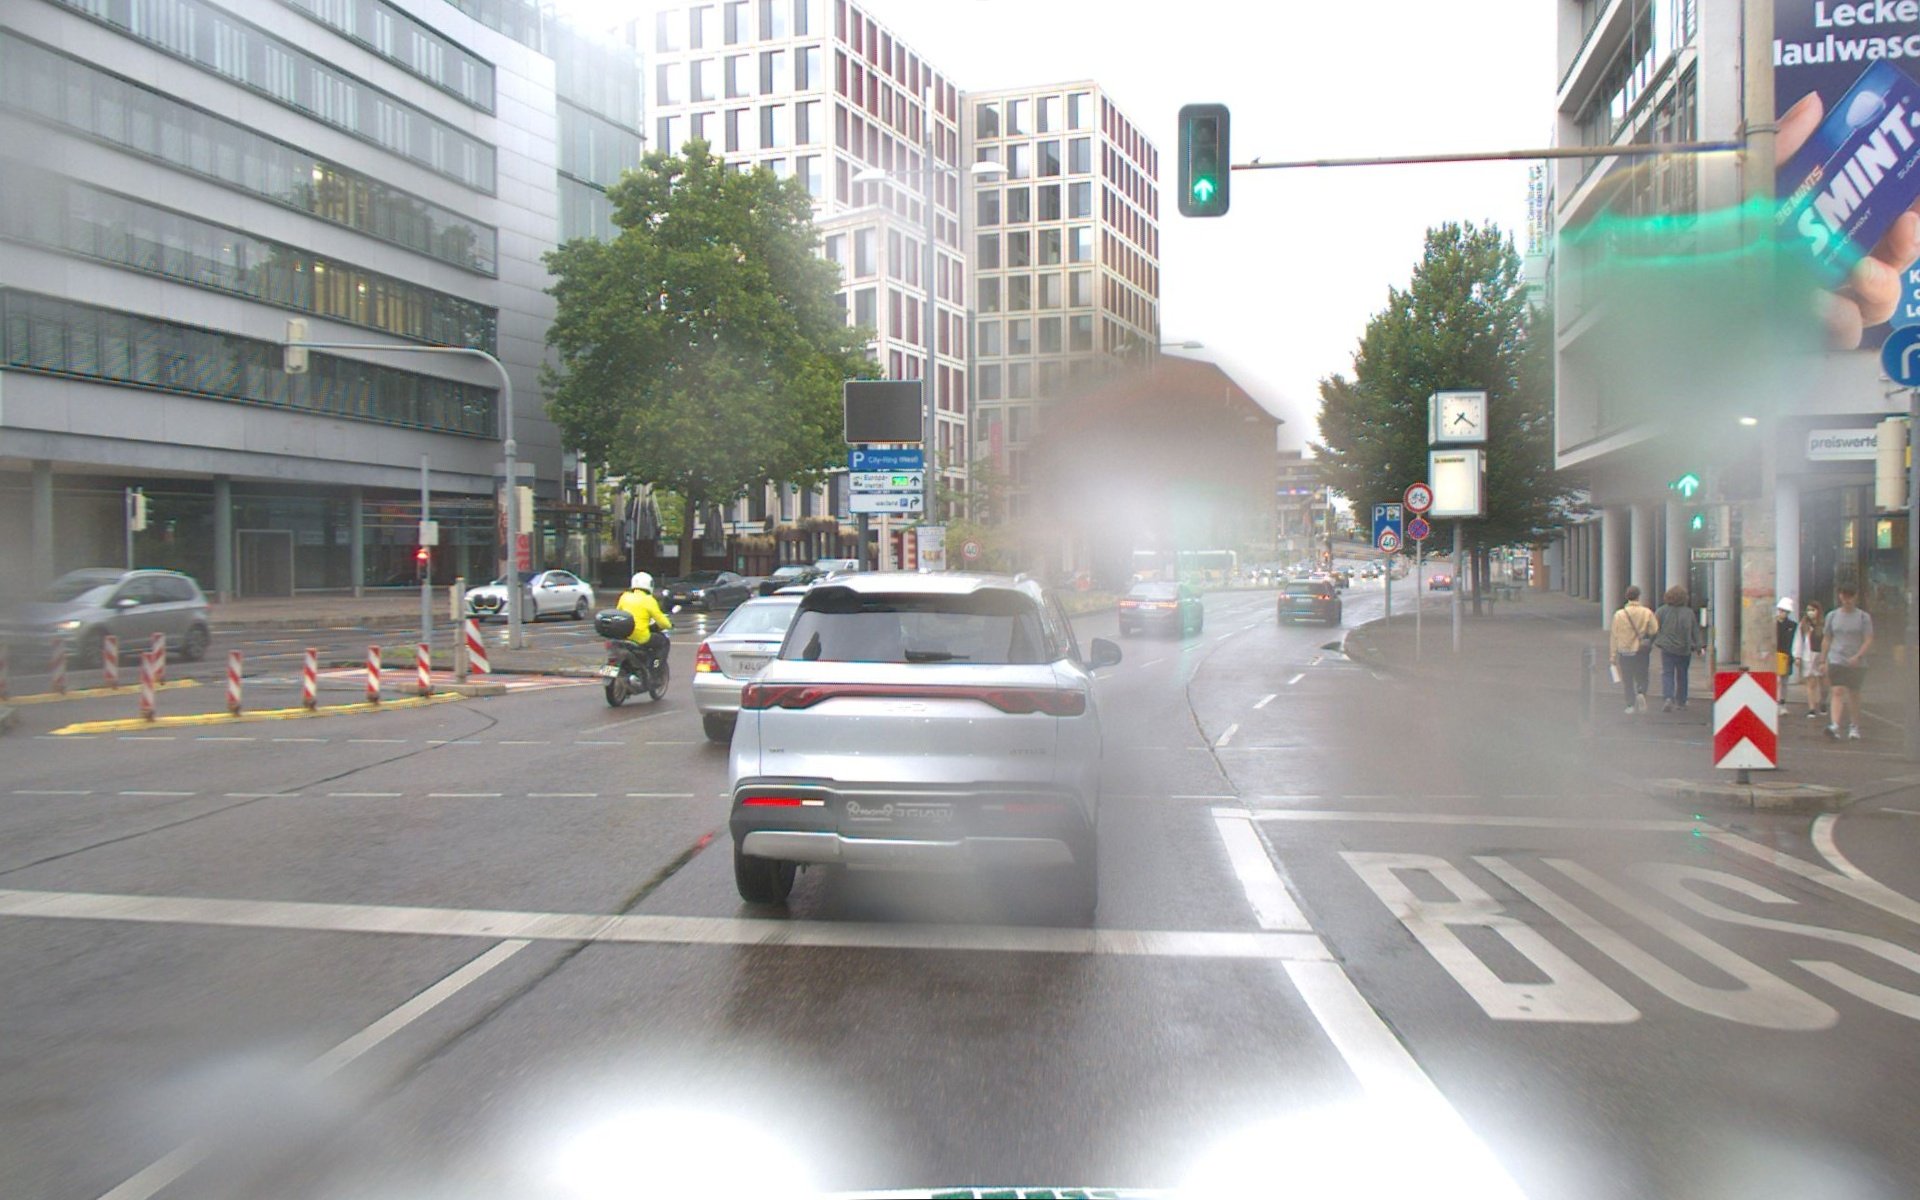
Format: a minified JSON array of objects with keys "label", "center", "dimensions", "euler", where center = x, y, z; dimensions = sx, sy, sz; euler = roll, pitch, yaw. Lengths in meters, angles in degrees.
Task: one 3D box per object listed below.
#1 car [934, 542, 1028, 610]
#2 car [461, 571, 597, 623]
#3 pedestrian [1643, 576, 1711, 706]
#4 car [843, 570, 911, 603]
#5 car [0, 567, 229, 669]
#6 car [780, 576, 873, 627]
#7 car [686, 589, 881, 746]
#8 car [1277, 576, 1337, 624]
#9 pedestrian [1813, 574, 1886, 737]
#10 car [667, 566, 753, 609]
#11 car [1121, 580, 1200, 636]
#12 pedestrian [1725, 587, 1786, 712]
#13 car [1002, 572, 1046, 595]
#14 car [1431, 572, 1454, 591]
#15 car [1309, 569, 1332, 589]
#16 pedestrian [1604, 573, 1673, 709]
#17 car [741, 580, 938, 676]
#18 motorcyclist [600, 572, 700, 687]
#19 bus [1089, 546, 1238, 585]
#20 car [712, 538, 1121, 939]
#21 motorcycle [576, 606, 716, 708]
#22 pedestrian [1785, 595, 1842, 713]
[{"label":"car","center":[0.744,-0.729,53.457],"dimensions":[1.951,2.049,4.852],"euler":[1,-1,14]},{"label":"car","center":[-13.186,-0.130,50.963],"dimensions":[1.775,1.536,5.200],"euler":[0,1,14]},{"label":"pedestrian","center":[10.258,0.566,23.695],"dimensions":[0.732,1.829,0.817],"euler":[0,1,12]},{"label":"car","center":[-3.975,-0.670,80.035],"dimensions":[1.952,1.514,4.002],"euler":[0,1,19]},{"label":"car","center":[-14.565,0.278,28.336],"dimensions":[1.608,1.609,4.089],"euler":[1,0,13]},{"label":"car","center":[-3.996,0.023,49.952],"dimensions":[1.597,1.462,3.911],"euler":[0,1,15]},{"label":"car","center":[-1.739,0.646,17.389],"dimensions":[1.538,1.432,4.109],"euler":[1,-1,1]},{"label":"car","center":[11.643,0.028,55.361],"dimensions":[1.658,1.512,4.002],"euler":[1,-1,16]},{"label":"pedestrian","center":[10.277,0.622,19.099],"dimensions":[0.657,1.825,0.770],"euler":[1,0,34]},{"label":"car","center":[-9.585,-0.491,63.679],"dimensions":[1.597,1.586,4.597],"euler":[0,1,15]},{"label":"car","center":[5.771,0.247,47.264],"dimensions":[1.537,1.512,4.002],"euler":[1,-1,17]},{"label":"pedestrian","center":[10.981,0.668,22.823],"dimensions":[0.657,1.684,0.651],"euler":[1,0,35]},{"label":"car","center":[4.361,-1.115,112.612],"dimensions":[1.952,1.514,4.002],"euler":[0,1,19]},{"label":"car","center":[42.680,-1.617,146.280],"dimensions":[1.659,1.512,4.000],"euler":[1,-1,21]},{"label":"car","center":[31.944,-1.841,146.485],"dimensions":[1.847,1.672,4.003],"euler":[1,0,14]},{"label":"pedestrian","center":[9.318,0.547,22.730],"dimensions":[0.732,1.829,0.817],"euler":[0,1,12]},{"label":"car","center":[-1.980,0.478,28.351],"dimensions":[1.673,1.512,3.998],"euler":[1,-1,24]},{"label":"motorcyclist","center":[-3.913,0.369,20.945],"dimensions":[0.754,1.404,1.118],"euler":[1,-1,21]},{"label":"bus","center":[23.435,-3.988,190.179],"dimensions":[16.601,4.134,4.441],"euler":[1,-1,13]},{"label":"car","center":[-0.004,0.616,9.204],"dimensions":[1.738,1.708,4.002],"euler":[1,-1,6]},{"label":"motorcycle","center":[-3.922,0.699,20.870],"dimensions":[0.783,1.205,2.028],"euler":[1,-1,20]},{"label":"pedestrian","center":[11.675,0.727,22.614],"dimensions":[0.613,1.570,0.651],"euler":[1,0,35]}]
